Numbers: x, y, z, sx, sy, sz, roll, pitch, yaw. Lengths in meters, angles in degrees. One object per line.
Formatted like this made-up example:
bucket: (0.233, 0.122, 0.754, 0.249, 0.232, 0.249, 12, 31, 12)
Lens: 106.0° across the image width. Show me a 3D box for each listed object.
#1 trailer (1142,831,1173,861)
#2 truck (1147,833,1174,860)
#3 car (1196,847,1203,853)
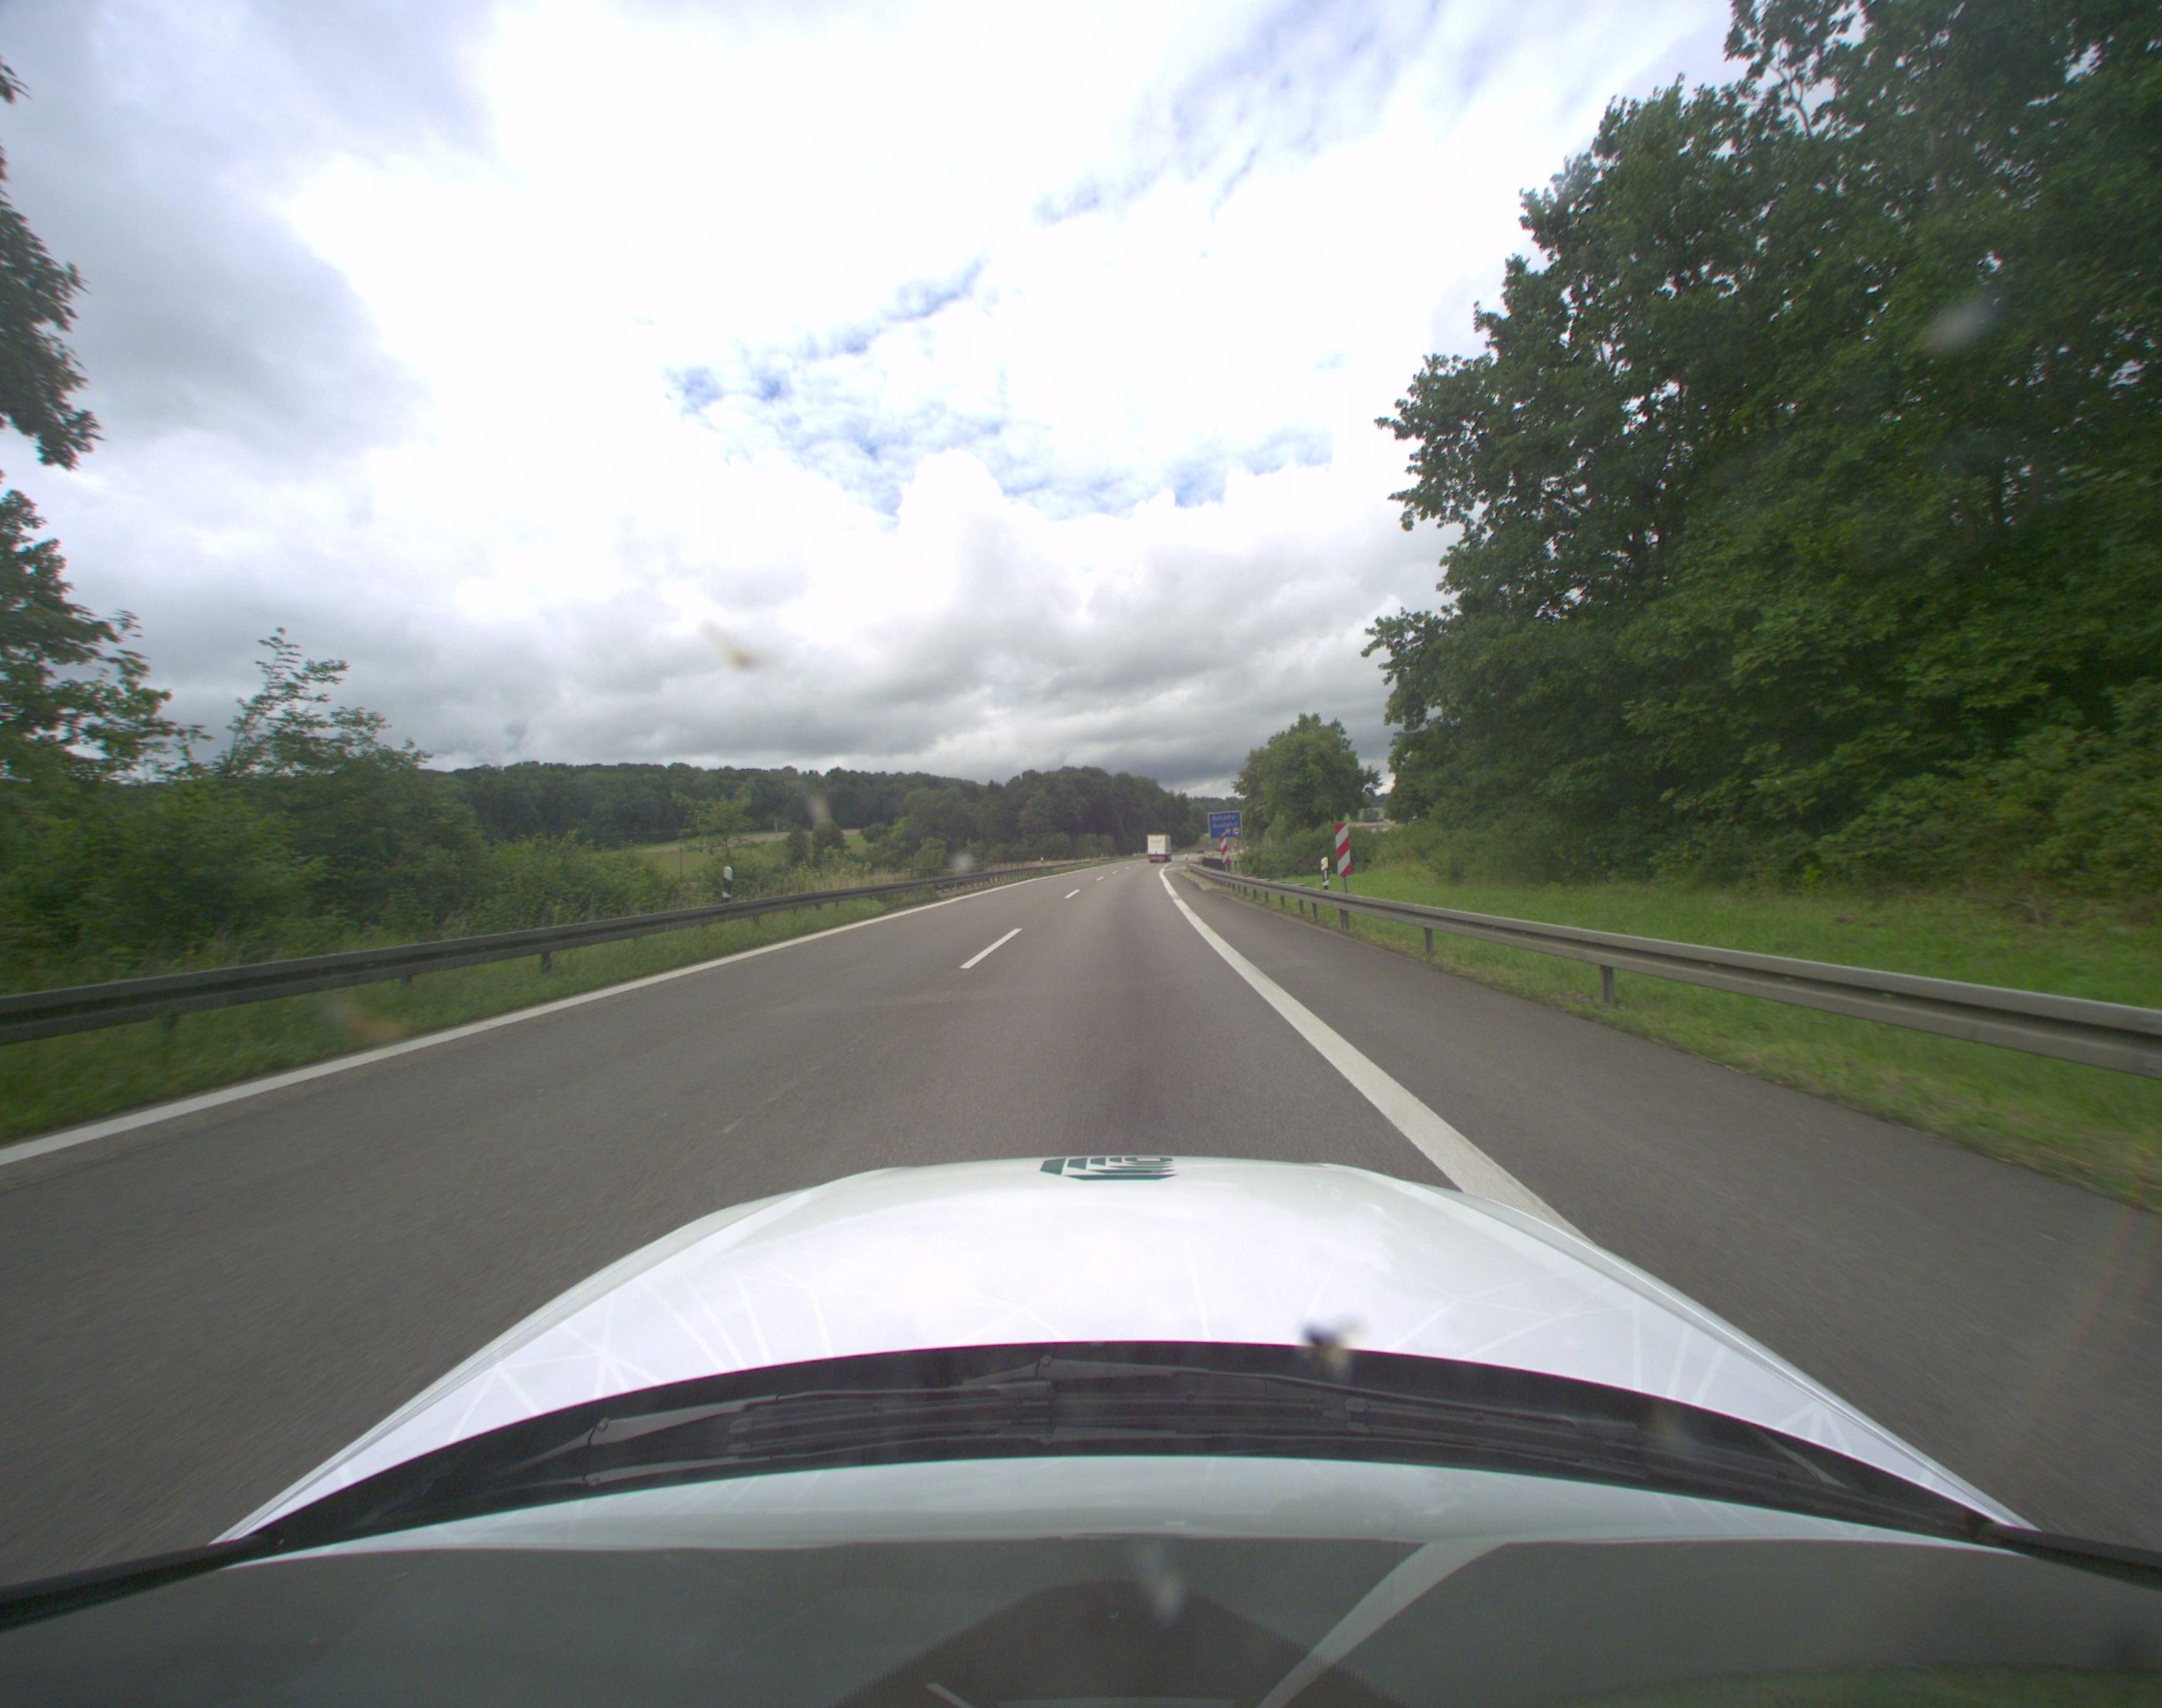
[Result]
trailer: (11.537, -1.120, 121.276, 3.784, 4.174, 14.843, -1, 0, 8)
truck: (12.636, -1.194, 128.844, 3.766, 4.131, 8.284, -1, 0, 8)
car: (35.070, -1.212, 240.437, 1.891, 1.795, 4.011, -1, -1, 10)
